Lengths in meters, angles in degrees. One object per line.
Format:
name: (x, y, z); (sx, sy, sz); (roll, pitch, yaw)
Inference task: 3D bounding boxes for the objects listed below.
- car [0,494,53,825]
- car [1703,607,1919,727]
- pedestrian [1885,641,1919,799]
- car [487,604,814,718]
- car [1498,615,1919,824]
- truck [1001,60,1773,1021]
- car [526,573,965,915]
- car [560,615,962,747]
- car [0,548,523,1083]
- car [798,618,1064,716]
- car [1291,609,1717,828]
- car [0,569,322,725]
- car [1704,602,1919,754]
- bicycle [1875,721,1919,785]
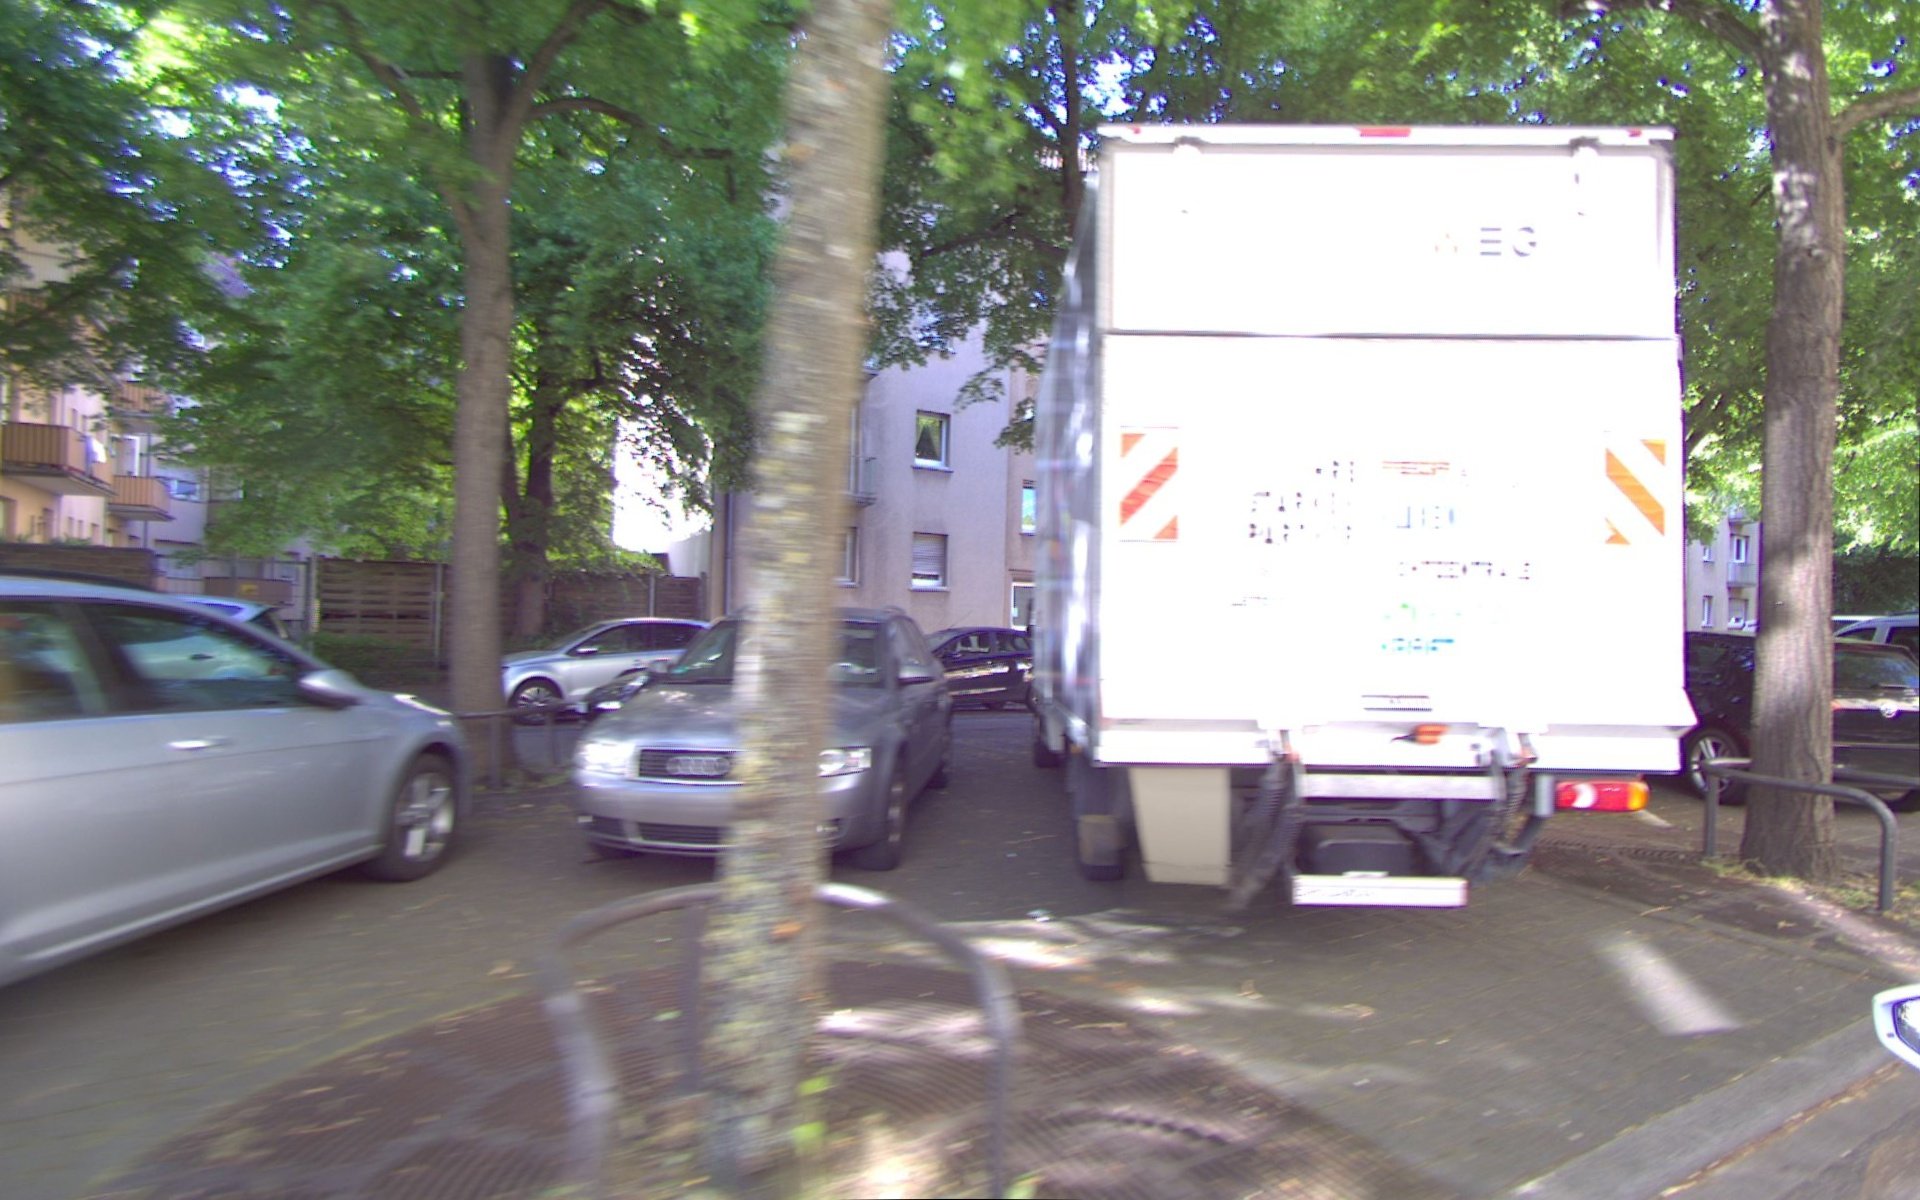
car: (-6.562, 0.281, 3.836); (1.897, 1.898, 4.505); (2, -1, 3)
car: (15.882, 1.140, 17.787); (1.979, 1.856, 4.606); (2, -2, -1)
pedestrian: (9.112, 1.098, 9.011); (0.910, 1.415, 0.753); (2, -1, 1)
car: (-4.485, 0.856, 14.742); (4.293, 1.454, 1.755); (2, -1, -30)
car: (7.115, 0.946, 9.670); (1.699, 1.526, 4.109); (2, -1, 1)
truck: (1.662, -0.141, 7.209); (2.496, 3.337, 7.327); (1, -1, 1)
car: (-1.000, 0.699, 6.848); (1.777, 1.527, 4.345); (2, -1, 3)
car: (-2.271, 0.915, 11.979); (4.368, 1.311, 1.753); (3, -3, -34)
car: (-3.564, 0.604, 3.675); (1.777, 1.527, 4.345); (2, -1, 3)
car: (-0.407, 1.092, 17.004); (4.304, 1.453, 1.751); (2, -3, -37)
car: (4.625, 0.884, 9.325); (1.812, 1.522, 4.001); (2, -1, 1)
car: (-9.644, 0.505, 11.410); (3.903, 1.590, 1.745); (2, -1, -30)
car: (12.938, 1.019, 13.627); (2.042, 1.889, 4.520); (2, -1, -5)
bicycle: (9.505, 1.510, 9.416); (0.401, 0.566, 1.614); (2, -1, 1)
